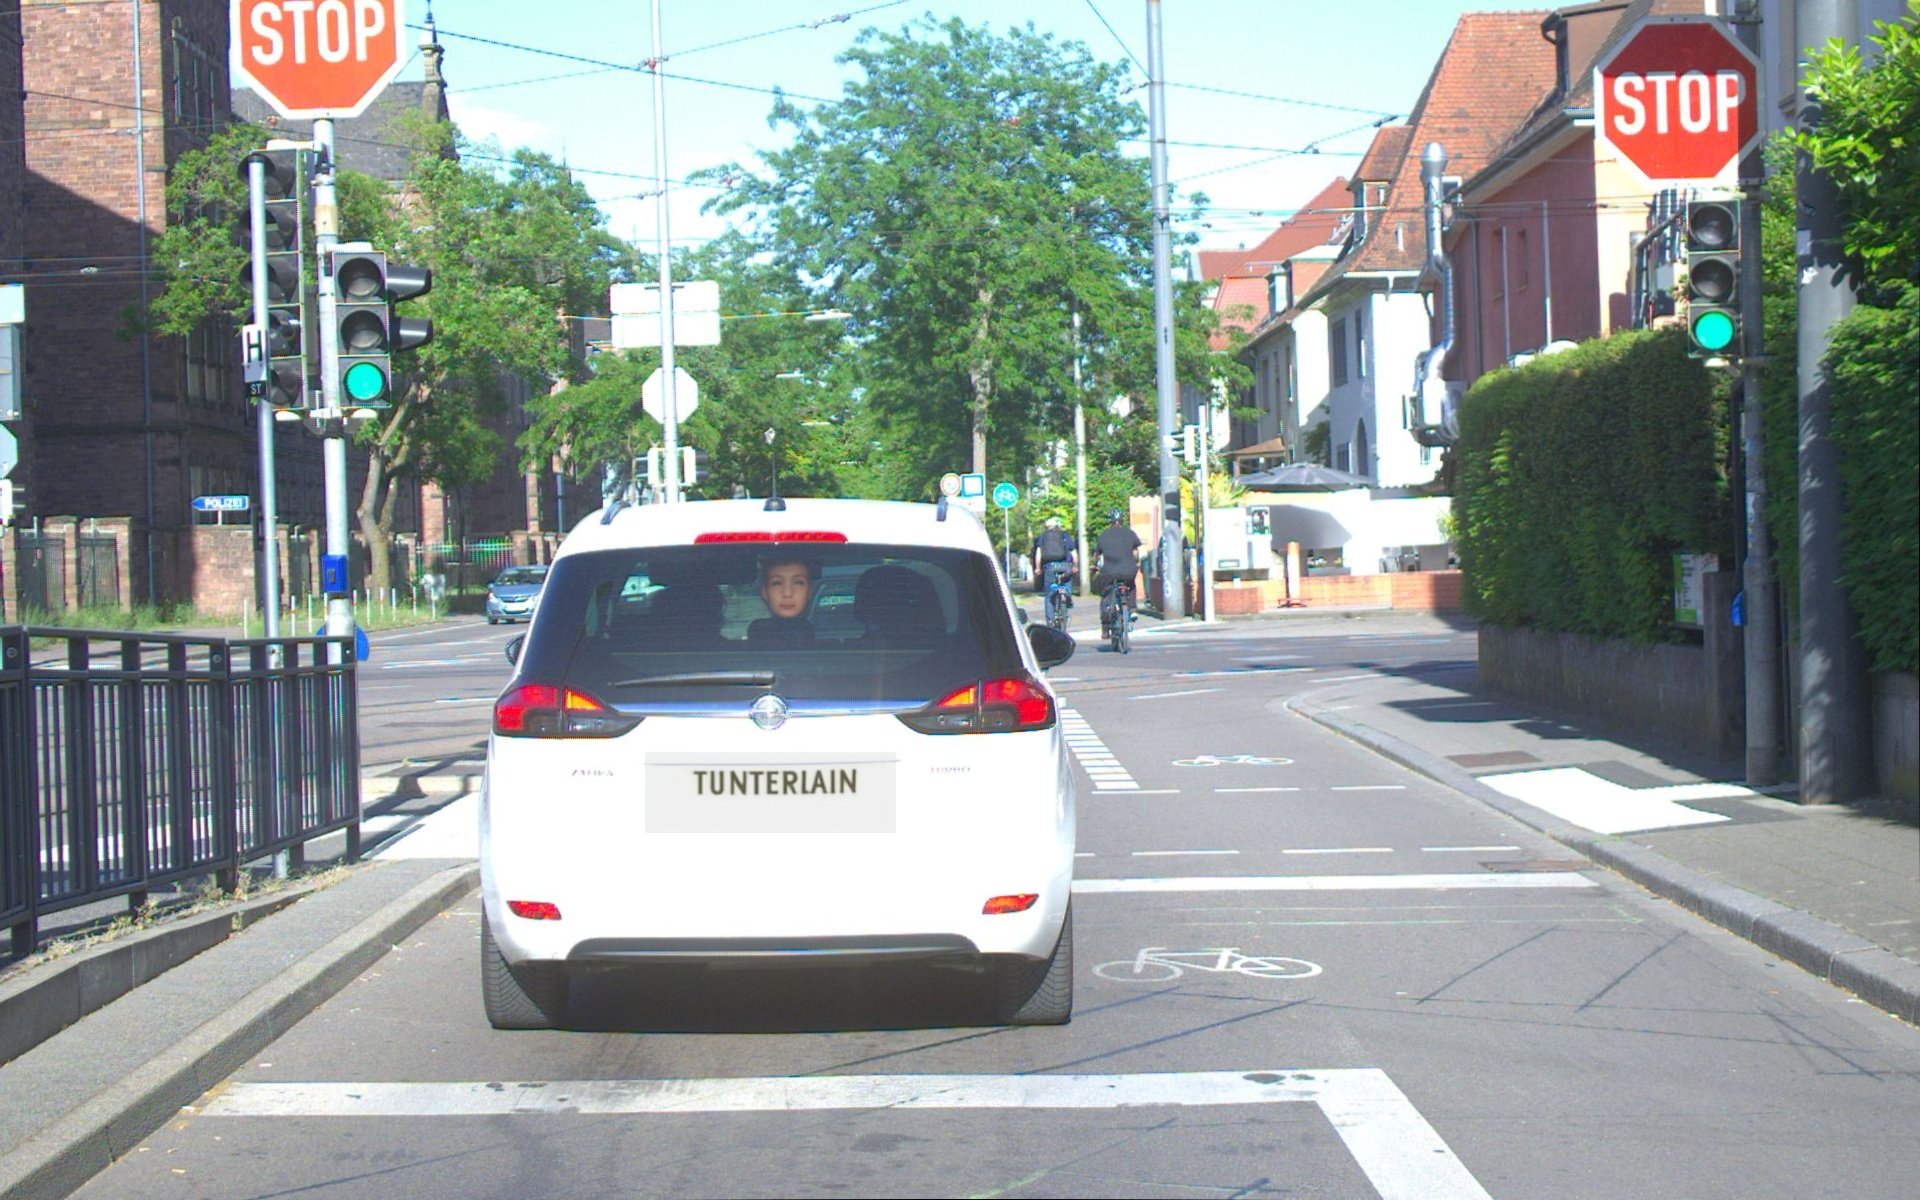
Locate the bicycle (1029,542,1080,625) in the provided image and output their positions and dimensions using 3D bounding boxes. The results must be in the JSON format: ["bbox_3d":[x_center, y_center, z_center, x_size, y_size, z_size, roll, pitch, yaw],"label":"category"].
[{"bbox_3d":[1.355,-0.240,49.146,0.685,1.153,1.619,-1,1,2],"label":"bicycle"}]

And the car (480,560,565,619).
[{"bbox_3d":[-11.232,-0.285,88.417,1.581,1.436,3.584,-1,1,2],"label":"car"}]

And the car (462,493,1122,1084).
[{"bbox_3d":[-0.458,0.513,11.667,1.835,1.636,3.919,-1,1,1],"label":"car"}]

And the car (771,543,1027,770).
[{"bbox_3d":[-0.359,0.338,24.435,1.586,1.415,3.900,-2,1,2],"label":"car"}]

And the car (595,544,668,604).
[{"bbox_3d":[-10.105,-0.805,105.879,1.892,1.777,3.881,-1,1,-1],"label":"car"}]

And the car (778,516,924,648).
[{"bbox_3d":[-1.394,-0.246,45.325,1.776,1.626,3.881,-1,1,0],"label":"car"}]

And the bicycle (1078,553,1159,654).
[{"bbox_3d":[1.880,0.028,40.988,0.829,1.150,2.095,-1,1,-1],"label":"bicycle"}]

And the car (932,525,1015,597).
[{"bbox_3d":[0.343,-0.914,81.324,1.776,1.626,3.880,-1,1,2],"label":"car"}]

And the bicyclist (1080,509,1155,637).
[{"bbox_3d":[1.874,-0.328,41.027,0.821,1.496,0.934,-1,0,-1],"label":"bicyclist"}]

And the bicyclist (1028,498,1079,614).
[{"bbox_3d":[1.345,-0.622,49.149,0.685,1.629,1.015,-1,0,2],"label":"bicyclist"}]
